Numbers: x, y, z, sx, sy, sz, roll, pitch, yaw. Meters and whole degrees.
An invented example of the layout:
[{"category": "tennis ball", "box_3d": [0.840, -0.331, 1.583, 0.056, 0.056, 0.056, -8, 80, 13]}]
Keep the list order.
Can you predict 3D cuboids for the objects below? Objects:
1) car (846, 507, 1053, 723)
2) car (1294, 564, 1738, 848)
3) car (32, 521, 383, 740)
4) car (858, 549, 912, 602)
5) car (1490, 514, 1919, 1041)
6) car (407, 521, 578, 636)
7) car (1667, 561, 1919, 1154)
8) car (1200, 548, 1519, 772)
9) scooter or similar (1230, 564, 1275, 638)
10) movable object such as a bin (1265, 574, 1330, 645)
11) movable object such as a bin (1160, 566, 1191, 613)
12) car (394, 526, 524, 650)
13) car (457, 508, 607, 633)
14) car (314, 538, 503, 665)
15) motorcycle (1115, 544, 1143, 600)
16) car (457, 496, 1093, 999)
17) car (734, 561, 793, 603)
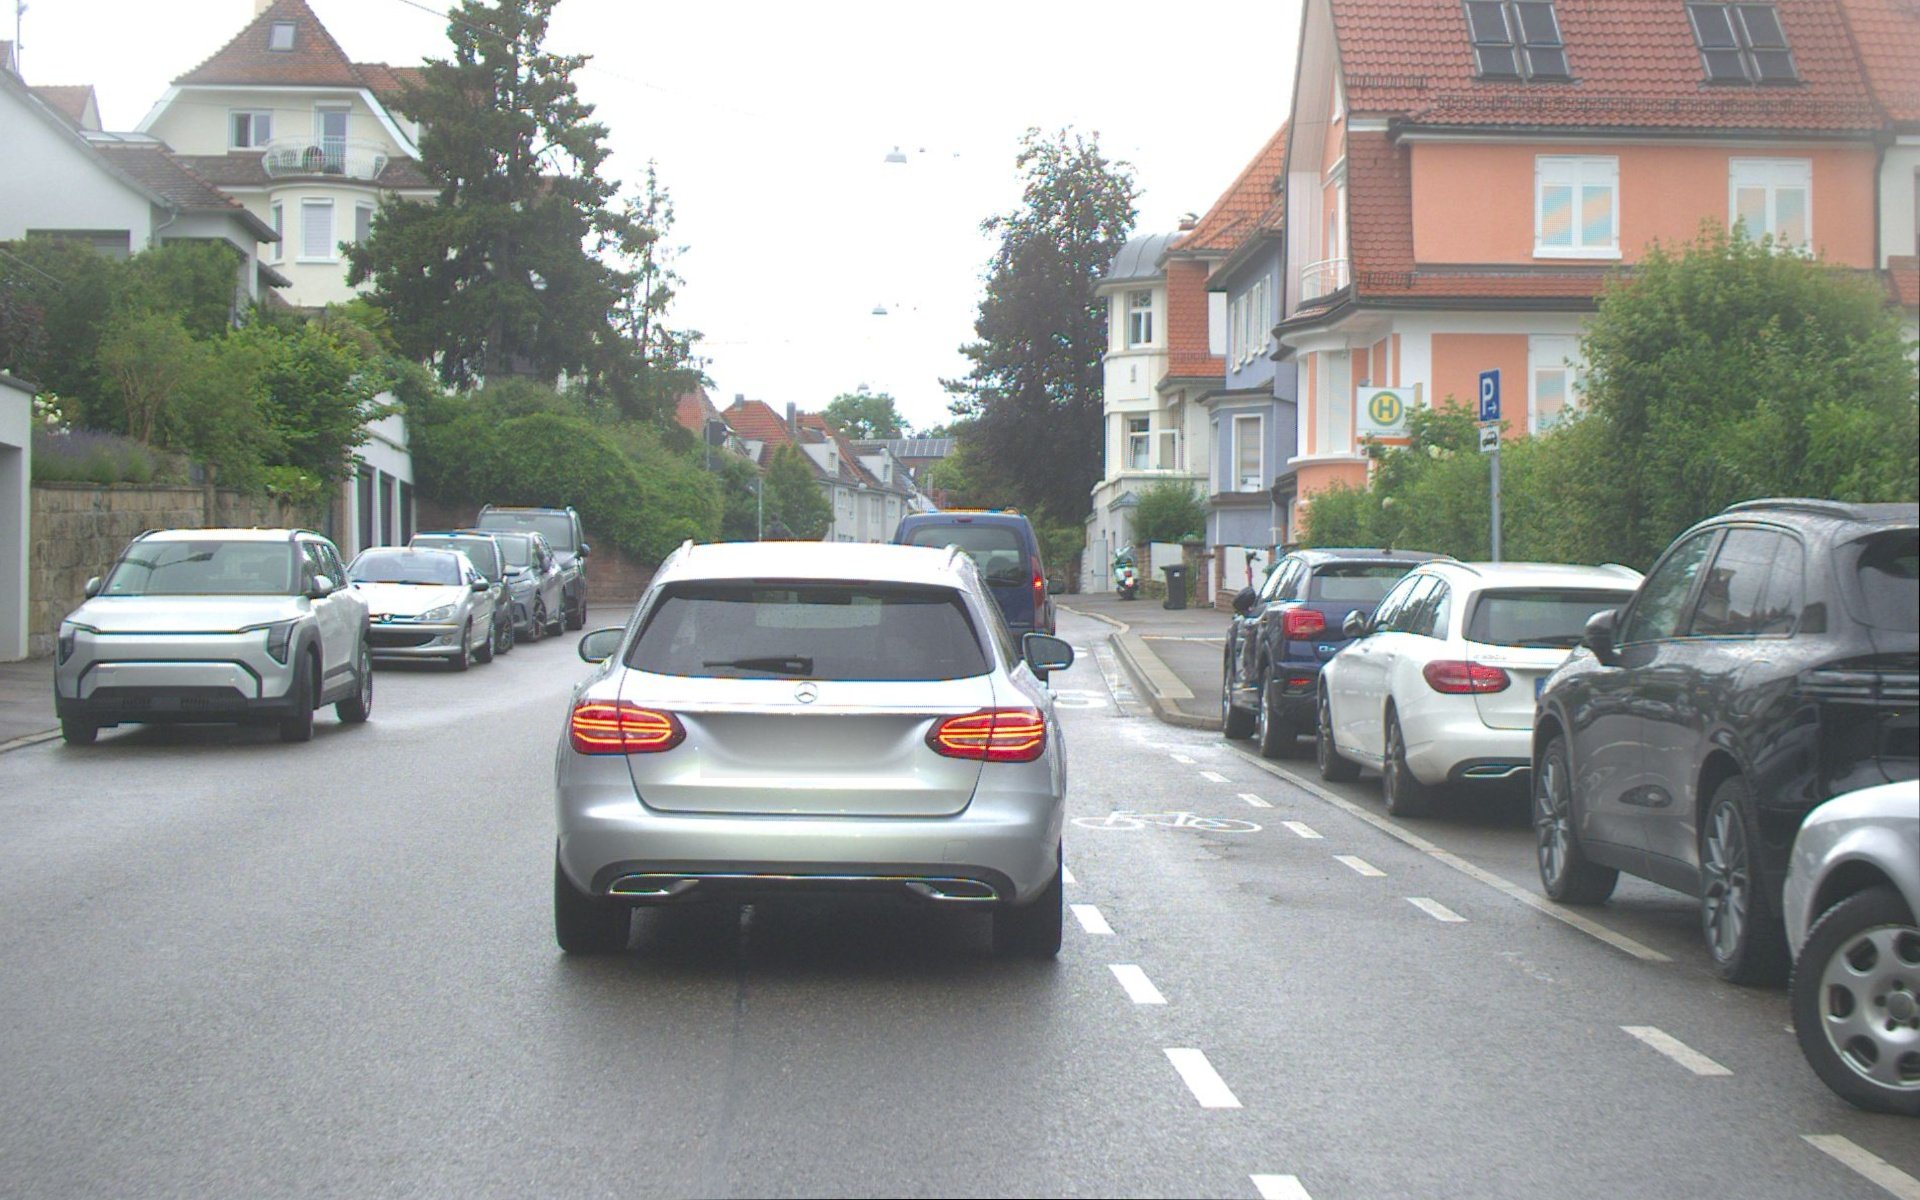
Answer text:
[{"category": "car", "box_3d": [-0.055, 0.083, 33.892, 1.824, 1.876, 4.095, -3, 2, 1]}, {"category": "car", "box_3d": [3.160, 0.538, 20.442, 1.713, 1.400, 4.608, 1, 1, -2]}, {"category": "car", "box_3d": [-5.755, 0.171, 26.780, 1.898, 1.562, 4.238, 0, 1, -1]}, {"category": "car", "box_3d": [-3.620, -1.213, 166.171, 2.466, 2.391, 4.000, -2, 1, -1]}, {"category": "car", "box_3d": [3.445, 0.530, 13.159, 1.887, 1.657, 4.549, 2, 1, -3]}, {"category": "car", "box_3d": [-6.609, -0.339, 48.992, 1.898, 1.510, 4.343, 2, 1, -1]}, {"category": "car", "box_3d": [3.493, 0.678, 7.735, 1.798, 1.435, 4.644, 0, 1, -15]}, {"category": "car", "box_3d": [2.922, 0.385, 25.991, 1.754, 1.525, 4.206, 1, 1, -2]}, {"category": "scooter or similar", "box_3d": [4.949, 0.006, 58.069, 0.693, 1.220, 1.299, 1, 1, 7]}, {"category": "movable object such as a bin", "box_3d": [4.754, 0.128, 48.434, 0.569, 0.965, 0.670, 1, 1, -33]}, {"category": "movable object such as a bin", "box_3d": [4.395, -0.216, 70.052, 0.549, 0.932, 0.634, -2, 1, -1]}, {"category": "car", "box_3d": [-6.449, -0.180, 44.490, 1.496, 1.518, 3.160, 1, 1, -5]}, {"category": "car", "box_3d": [-6.787, -0.505, 55.003, 2.129, 1.853, 5.595, 1, 1, -5]}, {"category": "car", "box_3d": [-6.283, -0.014, 39.523, 1.609, 1.333, 3.841, 1, 1, -1]}, {"category": "motorcycle", "box_3d": [3.906, -0.667, 79.536, 0.582, 1.257, 2.331, -1, 1, 2]}, {"category": "car", "box_3d": [-0.589, 0.423, 13.075, 1.982, 1.548, 4.298, 2, 1, 0]}, {"category": "car", "box_3d": [-7.354, -0.685, 128.810, 2.117, 1.466, 4.017, 1, 1, -2]}]
